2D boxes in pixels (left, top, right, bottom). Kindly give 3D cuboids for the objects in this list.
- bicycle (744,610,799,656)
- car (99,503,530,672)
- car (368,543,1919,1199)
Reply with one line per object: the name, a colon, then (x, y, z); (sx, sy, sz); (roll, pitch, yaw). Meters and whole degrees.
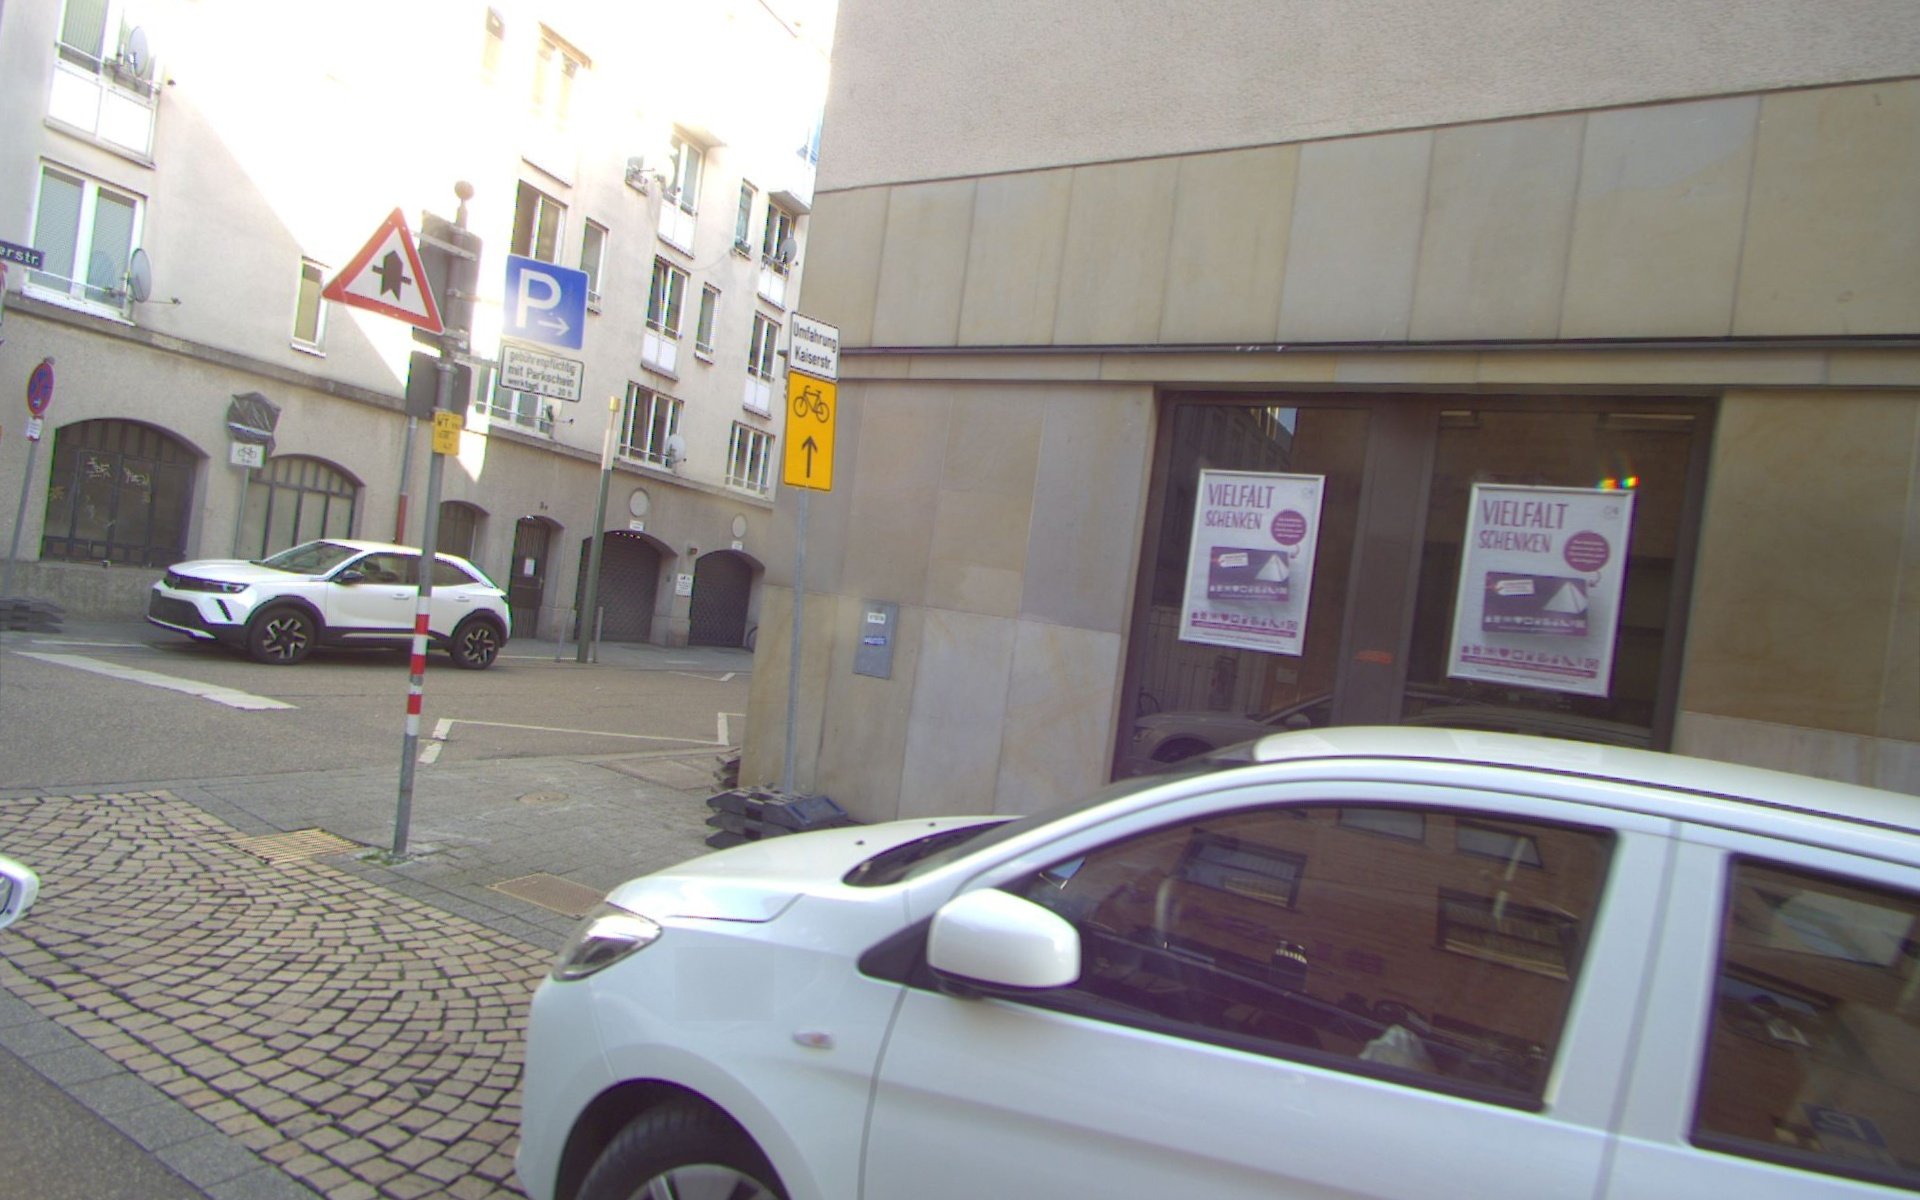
bicycle: (-4.731, 0.850, 25.312); (0.460, 1.032, 1.463); (7, -1, 26)
car: (-8.085, -0.048, 13.079); (1.869, 1.571, 4.227); (7, -2, 28)
car: (0.954, 0.947, 2.228); (3.990, 1.536, 1.894); (7, -1, 26)
